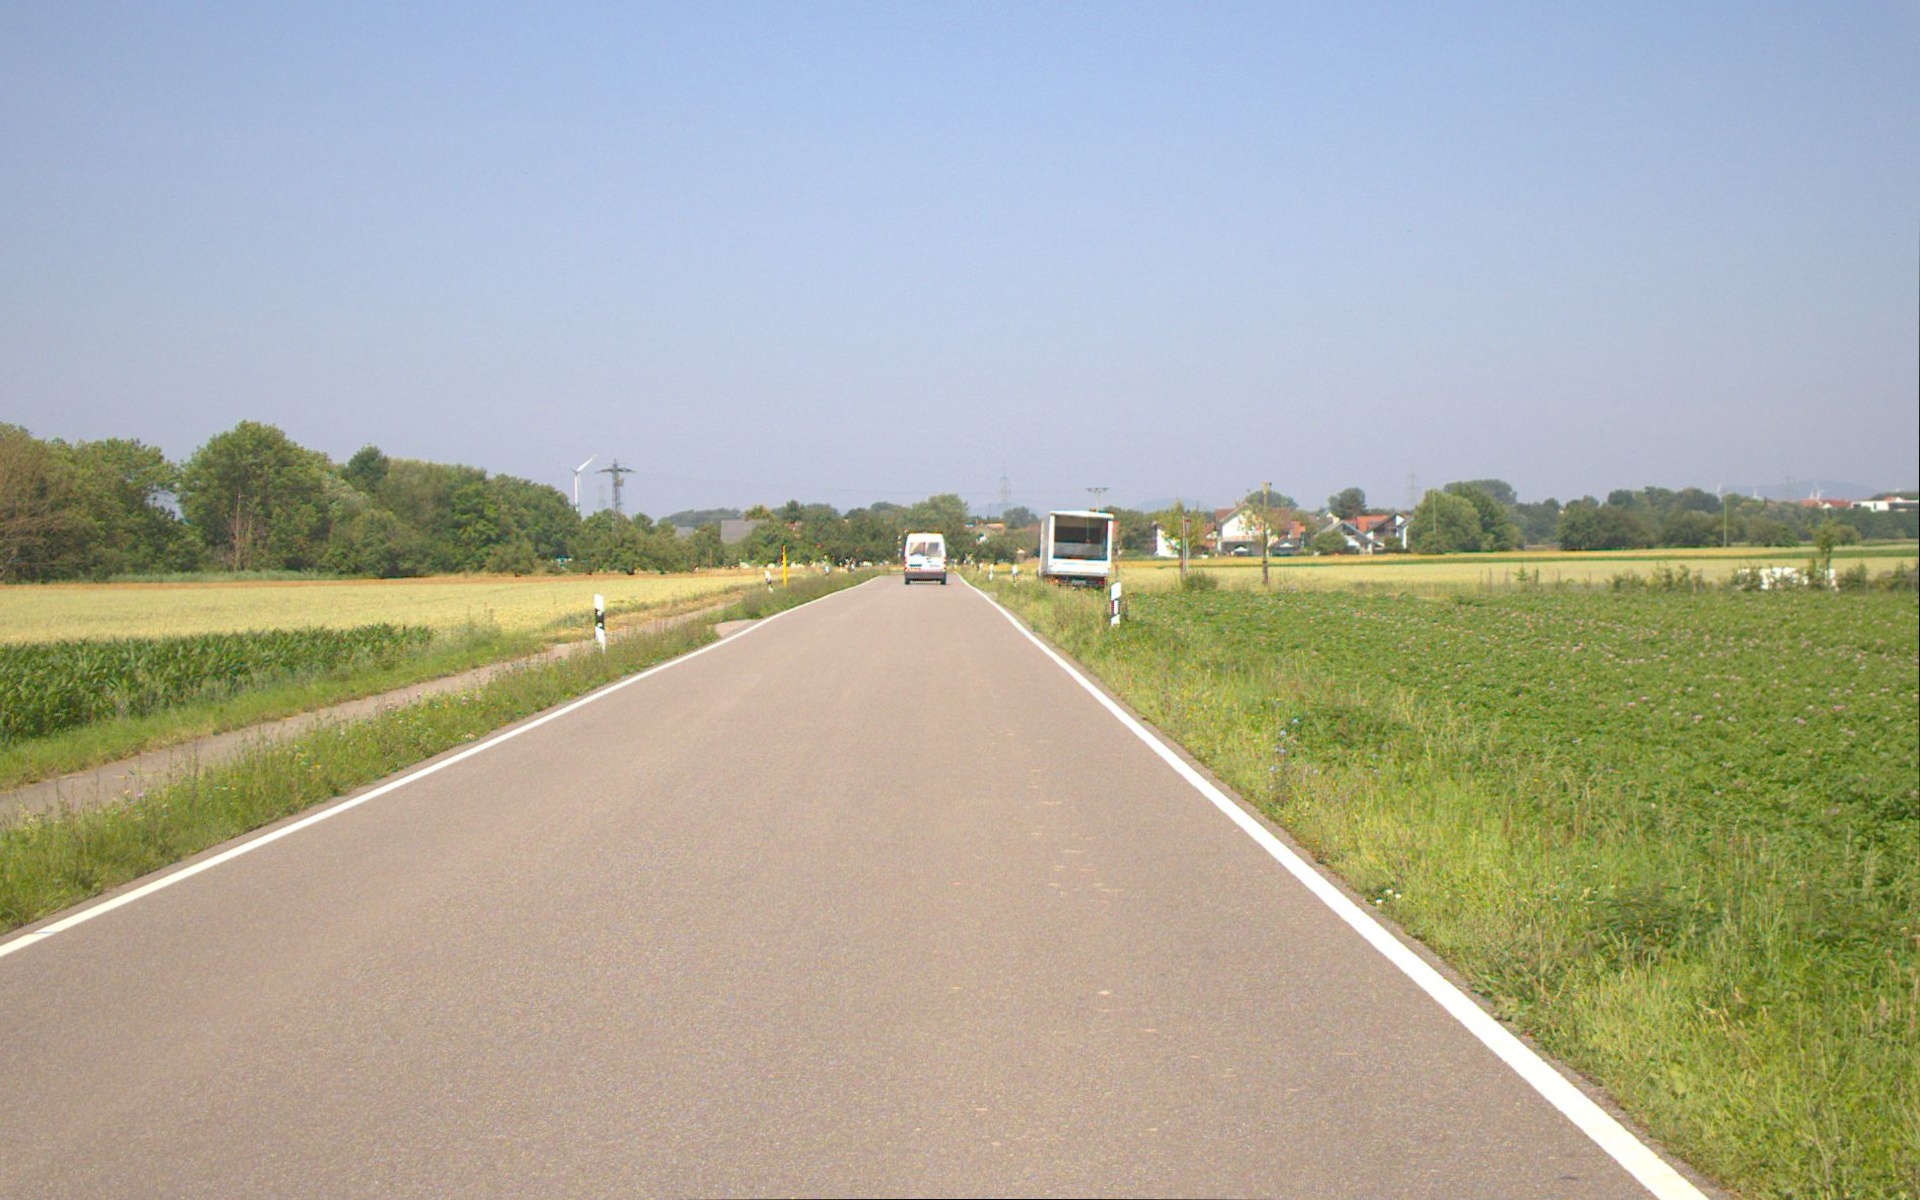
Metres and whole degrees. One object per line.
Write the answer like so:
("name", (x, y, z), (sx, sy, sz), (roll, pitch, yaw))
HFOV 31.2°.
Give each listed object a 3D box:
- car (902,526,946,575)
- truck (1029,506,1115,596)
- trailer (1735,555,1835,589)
("car", (-1.752, -2.396, 167.568), (2.107, 2.296, 5.496), (1, 1, -1))
("truck", (3.806, -1.676, 118.347), (2.335, 2.932, 7.009), (2, 1, -2))
("trailer", (30.908, -1.044, 128.876), (3.587, 1.185, 1.663), (1, 1, 12))
